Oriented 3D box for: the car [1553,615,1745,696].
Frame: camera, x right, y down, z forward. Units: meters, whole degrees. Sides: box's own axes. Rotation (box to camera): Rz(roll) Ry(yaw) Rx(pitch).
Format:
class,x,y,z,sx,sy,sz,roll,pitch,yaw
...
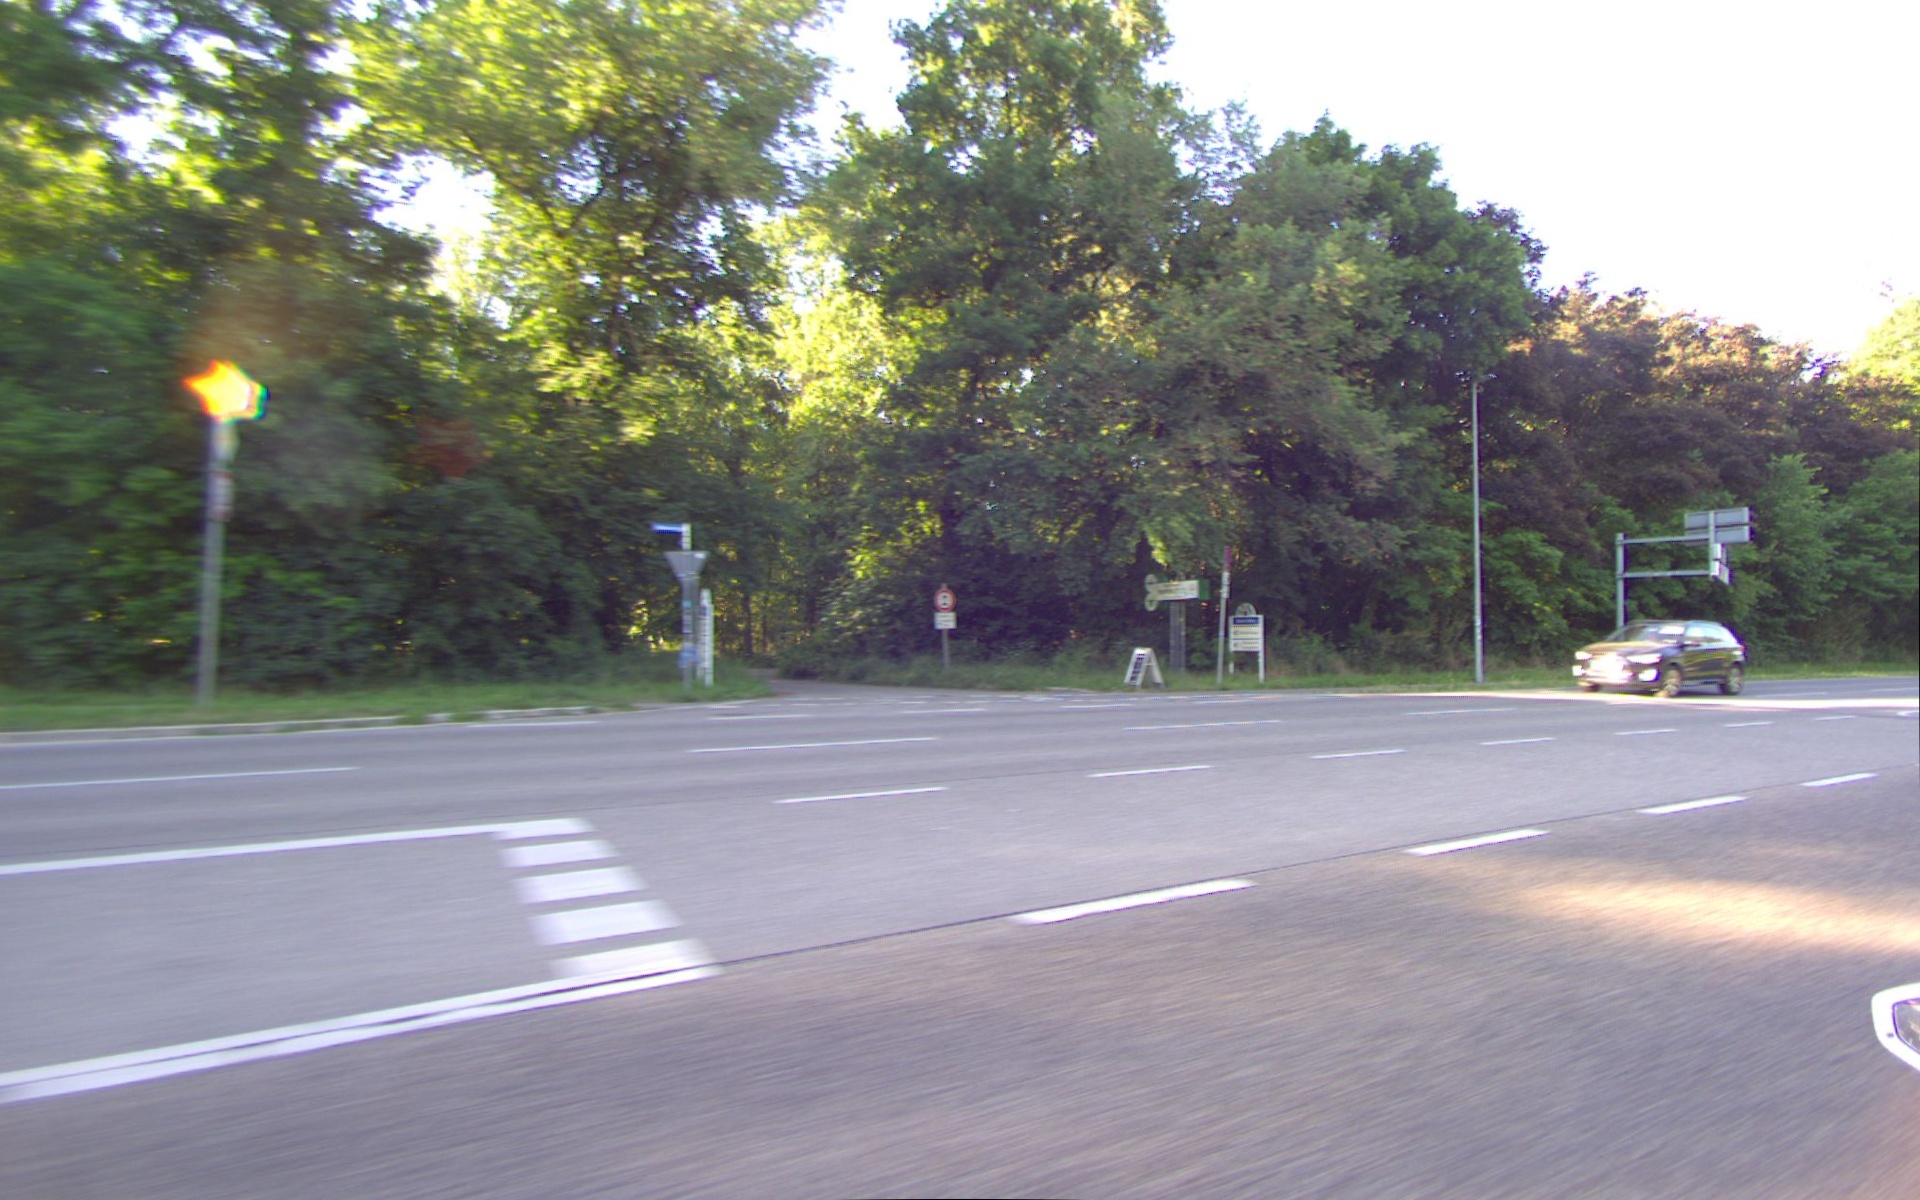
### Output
class,x,y,z,sx,sy,sz,roll,pitch,yaw
car,15.176,1.178,22.086,4.300,1.610,1.816,1,-1,-30
